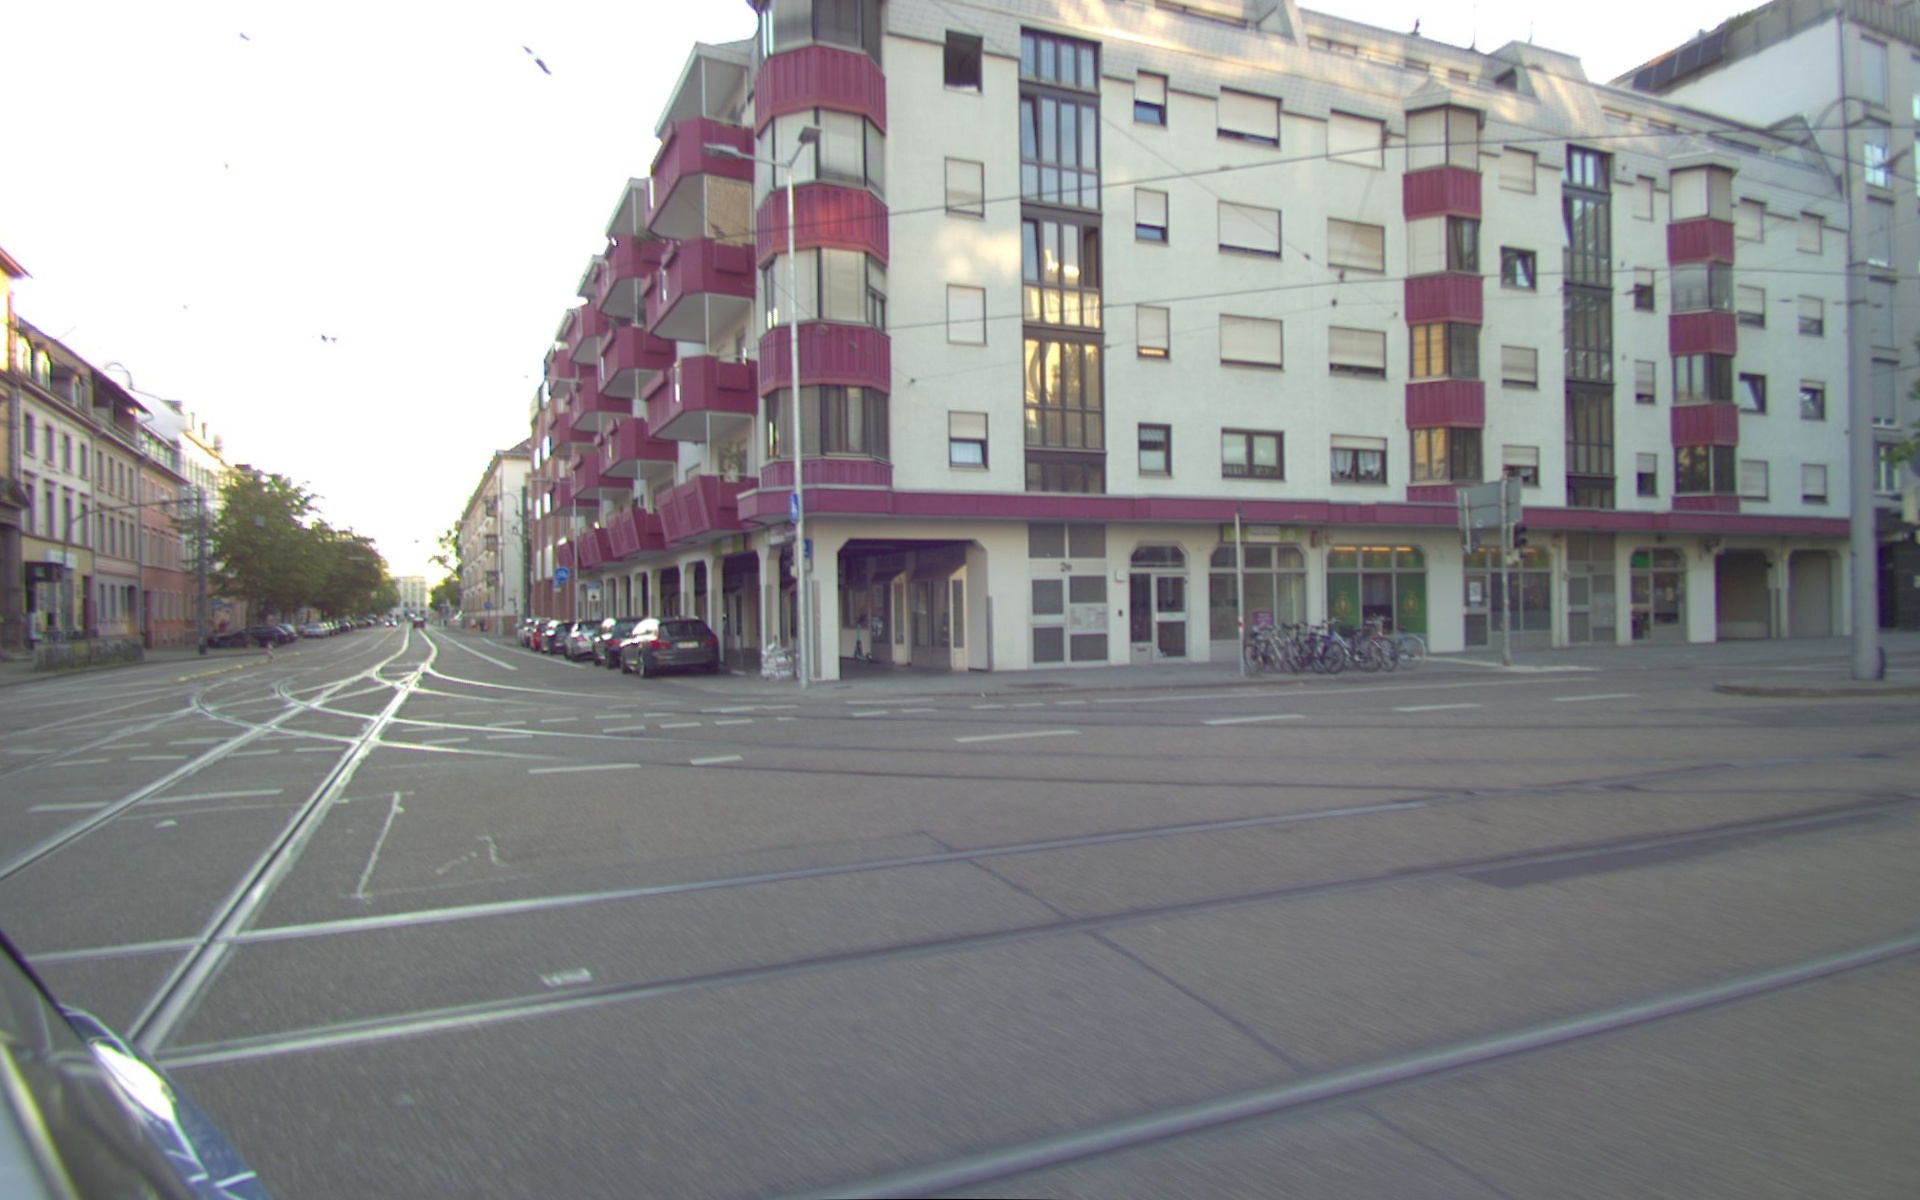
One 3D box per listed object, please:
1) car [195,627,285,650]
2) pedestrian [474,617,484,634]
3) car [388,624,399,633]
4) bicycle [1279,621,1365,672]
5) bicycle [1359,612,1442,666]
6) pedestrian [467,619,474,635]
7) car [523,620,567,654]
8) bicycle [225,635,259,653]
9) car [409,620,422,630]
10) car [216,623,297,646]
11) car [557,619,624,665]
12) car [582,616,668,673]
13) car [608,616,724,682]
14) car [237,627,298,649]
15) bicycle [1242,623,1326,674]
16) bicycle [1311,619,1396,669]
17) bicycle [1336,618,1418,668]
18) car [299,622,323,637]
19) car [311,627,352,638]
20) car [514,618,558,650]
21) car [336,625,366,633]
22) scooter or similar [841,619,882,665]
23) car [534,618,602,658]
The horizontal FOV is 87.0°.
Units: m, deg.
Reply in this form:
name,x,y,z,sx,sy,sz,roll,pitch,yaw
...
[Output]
name,x,y,z,sx,sy,sz,roll,pitch,yaw
car,-47.502,2.539,66.856,1.708,1.468,4.562,-2,-2,37
pedestrian,-49.353,2.662,103.859,0.784,1.714,0.984,-1,-1,-31
car,-114.019,5.729,203.731,1.966,1.696,4.012,-2,-1,-29
bicycle,7.363,0.920,20.678,0.663,0.965,1.846,-1,-1,-17
bicycle,9.199,0.797,21.200,0.490,1.069,1.846,-1,-1,-17
pedestrian,-50.043,2.714,103.405,0.582,1.622,0.813,-1,-1,-31
car,-20.137,1.749,49.059,1.589,1.490,3.490,-4,1,-27
bicycle,-46.107,2.805,64.997,1.666,1.110,0.930,1,-2,-29
car,-82.255,3.798,152.884,1.537,1.570,3.766,0,-2,-31
car,-50.447,2.447,72.650,2.061,1.528,4.401,-2,-2,38
car,-13.346,1.459,36.385,1.668,1.424,4.692,-3,0,-26
car,-10.442,1.324,31.356,1.763,1.519,4.213,-3,0,-28
car,-7.665,1.176,26.010,1.826,1.468,5.102,-1,0,-28
car,-52.775,2.879,77.159,1.740,1.528,3.523,-2,-2,36
bicycle,6.515,0.952,20.433,0.663,0.965,1.846,-1,-1,-17
bicycle,8.082,0.892,20.869,0.586,0.965,1.846,-1,-1,-17
bicycle,8.642,0.870,21.035,0.490,0.965,1.846,-1,-1,-17
car,-61.181,2.812,95.450,1.596,1.391,3.788,1,-2,-29
car,-82.938,4.280,133.644,1.720,1.475,4.328,-3,-2,44
car,-22.685,1.794,54.054,1.693,1.567,4.217,-3,0,-28
car,-115.822,5.516,192.498,1.806,1.529,4.582,-3,-3,35
scooter or similar,-2.640,1.099,27.019,0.541,1.174,1.484,-1,-1,-28
car,-17.009,1.612,43.813,1.966,1.490,4.495,-4,1,-31
